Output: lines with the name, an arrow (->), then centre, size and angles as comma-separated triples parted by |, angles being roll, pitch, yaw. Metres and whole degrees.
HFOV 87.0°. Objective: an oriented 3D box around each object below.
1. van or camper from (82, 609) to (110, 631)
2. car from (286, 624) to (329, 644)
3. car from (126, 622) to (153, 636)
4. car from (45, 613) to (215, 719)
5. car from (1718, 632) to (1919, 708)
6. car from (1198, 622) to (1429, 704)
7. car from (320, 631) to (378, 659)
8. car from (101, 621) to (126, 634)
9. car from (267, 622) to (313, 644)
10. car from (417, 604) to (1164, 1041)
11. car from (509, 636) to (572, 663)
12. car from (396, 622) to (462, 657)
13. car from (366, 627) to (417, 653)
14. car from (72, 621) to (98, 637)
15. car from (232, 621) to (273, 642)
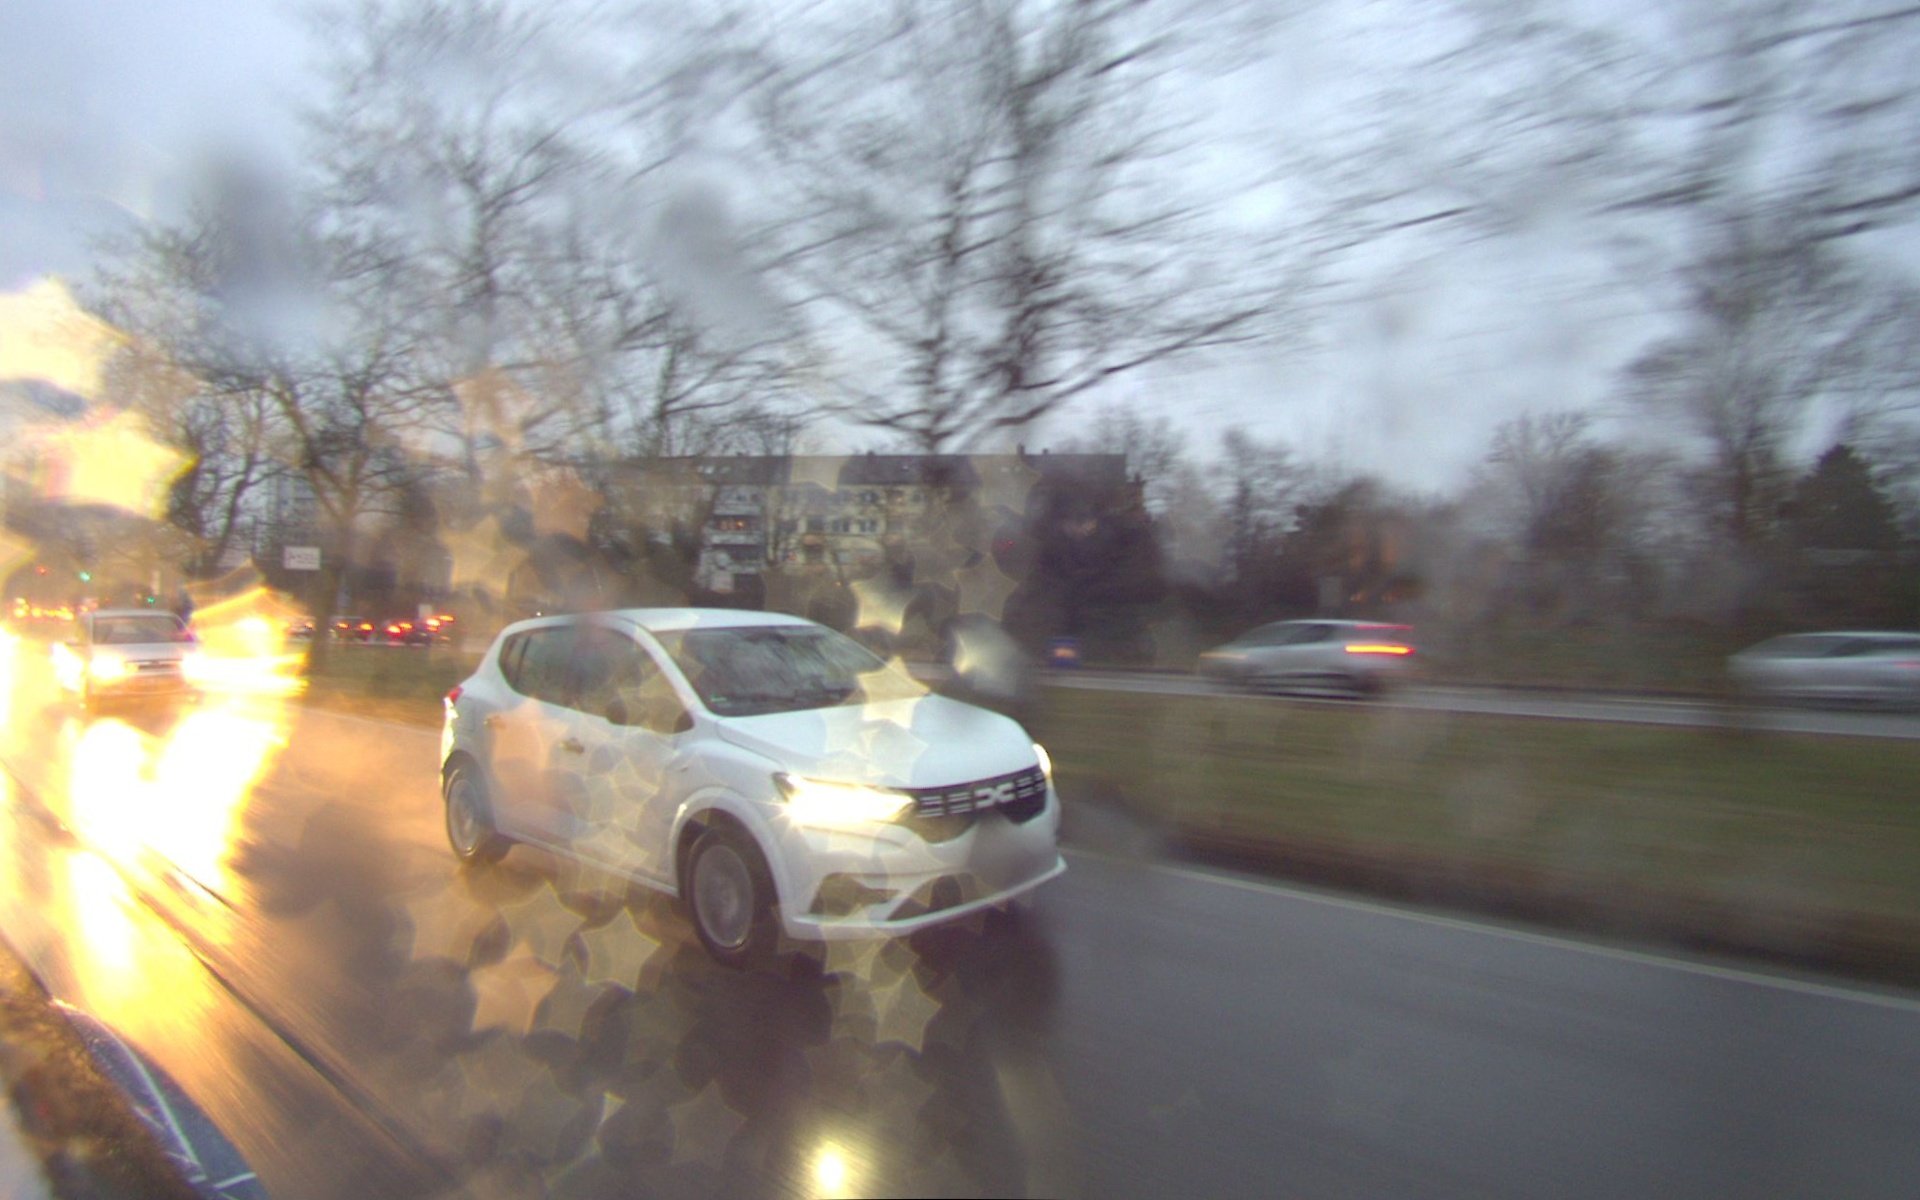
van or camper -> -103.683, 2.385, 121.428 | 4.738, 2.629, 1.942 | -1, -2, 42
car -> -50.604, 2.639, 78.433 | 4.271, 1.500, 1.700 | -1, -1, 42
car -> -82.659, 2.904, 101.918 | 3.999, 1.321, 1.521 | -1, -1, 42
car -> -14.399, 1.039, 17.474 | 4.165, 1.611, 1.742 | -1, -2, 43
car -> 17.057, 1.292, 19.226 | 4.105, 1.312, 1.561 | -1, -2, 44
car -> 6.914, 1.171, 20.034 | 3.977, 1.436, 1.730 | -1, -1, 42
car -> -36.632, 2.672, 60.660 | 4.377, 1.545, 1.764 | -1, -1, 42
car -> -93.046, 3.020, 111.200 | 3.999, 1.302, 1.521 | -1, -1, 42
car -> -44.593, 2.184, 67.327 | 3.955, 1.364, 1.631 | -1, -1, 42
car -> -1.201, 0.788, 5.437 | 4.224, 1.451, 1.705 | -1, -2, 42
car -> -23.900, 2.812, 57.608 | 4.300, 1.405, 1.729 | -1, -1, 43
car -> -26.246, 1.920, 49.956 | 3.980, 1.694, 1.600 | -1, -2, 42
car -> -35.514, 2.471, 63.206 | 3.790, 1.479, 1.614 | -1, -1, 42
car -> -91.491, 3.033, 105.804 | 3.999, 1.514, 1.553 | -1, 0, 42
car -> -52.351, 2.303, 74.855 | 3.955, 1.511, 1.631 | -1, -1, 42
